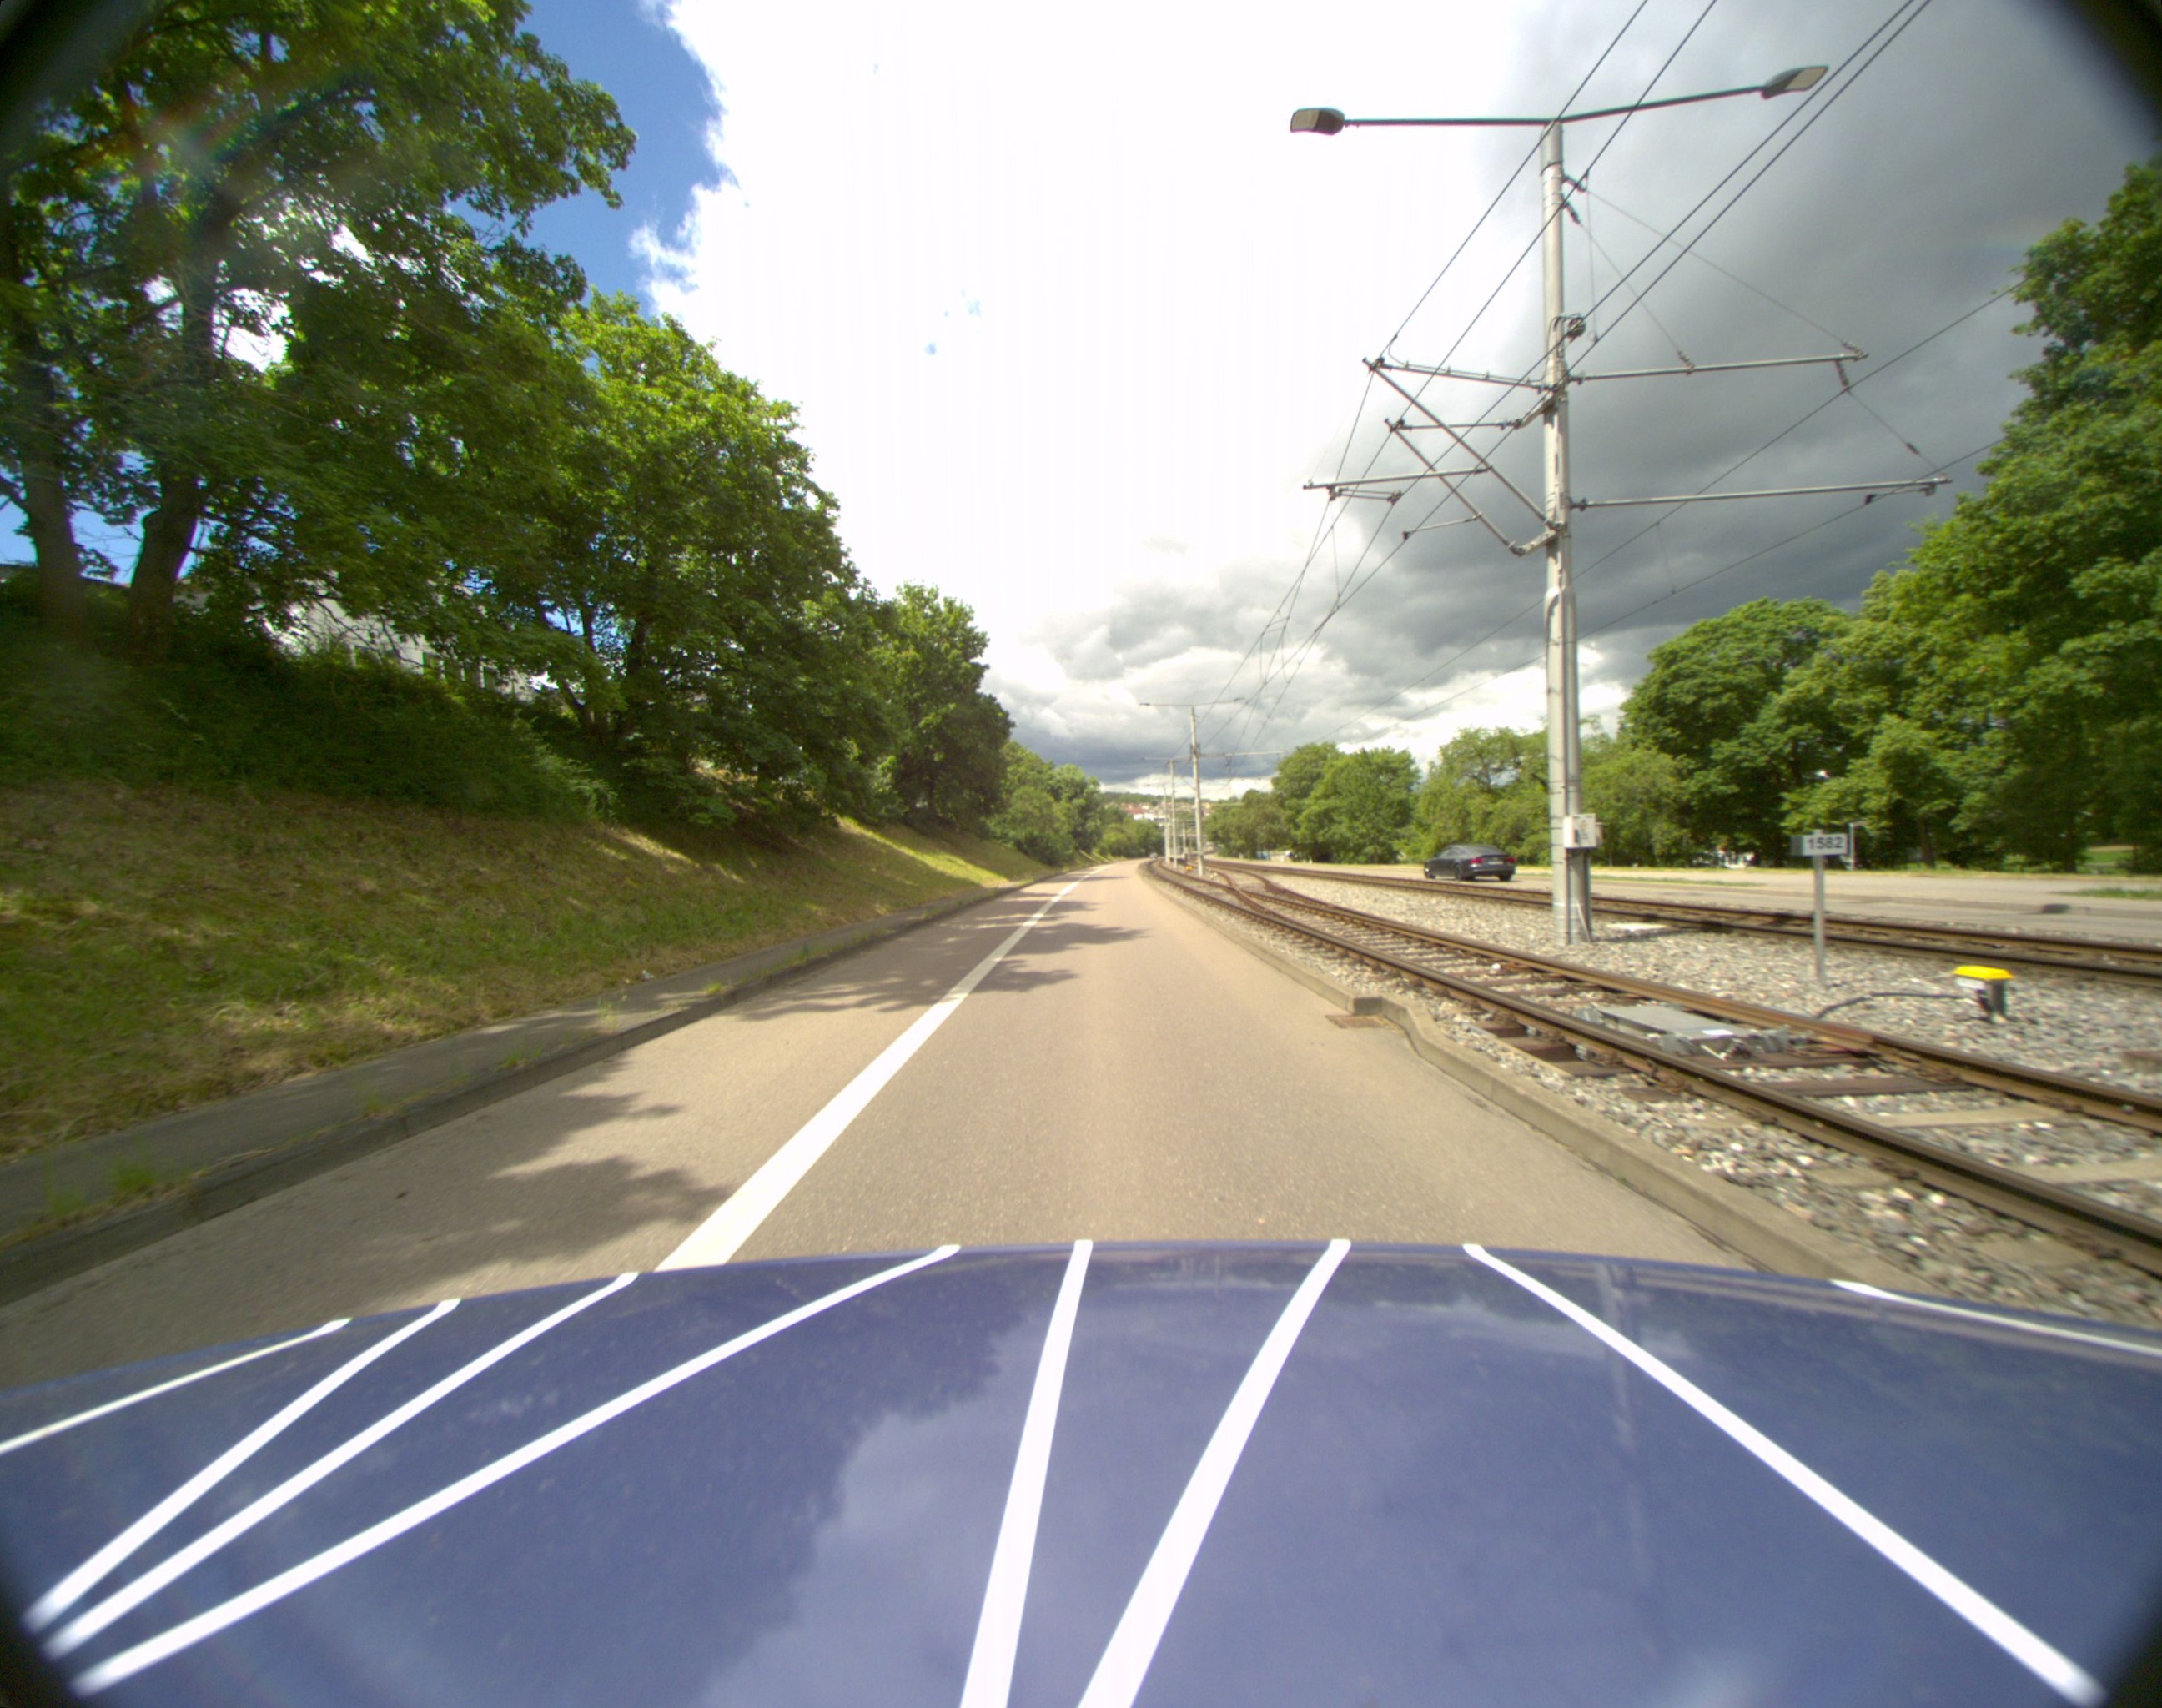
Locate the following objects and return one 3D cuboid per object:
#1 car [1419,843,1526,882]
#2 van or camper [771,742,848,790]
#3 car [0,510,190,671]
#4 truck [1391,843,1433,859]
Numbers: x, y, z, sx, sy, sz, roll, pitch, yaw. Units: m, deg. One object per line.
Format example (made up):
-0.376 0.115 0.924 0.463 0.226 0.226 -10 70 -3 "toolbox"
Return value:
15.011 0.300 29.476 1.840 1.383 4.862 0 0 2 "car"
-15.751 -5.051 44.531 2.222 2.057 6.162 -2 0 1 "van or camper"
-15.981 -3.964 10.832 1.648 1.677 4.044 -2 0 1 "car"
59.856 -0.509 137.508 6.614 2.839 2.681 0 1 9 "truck"
